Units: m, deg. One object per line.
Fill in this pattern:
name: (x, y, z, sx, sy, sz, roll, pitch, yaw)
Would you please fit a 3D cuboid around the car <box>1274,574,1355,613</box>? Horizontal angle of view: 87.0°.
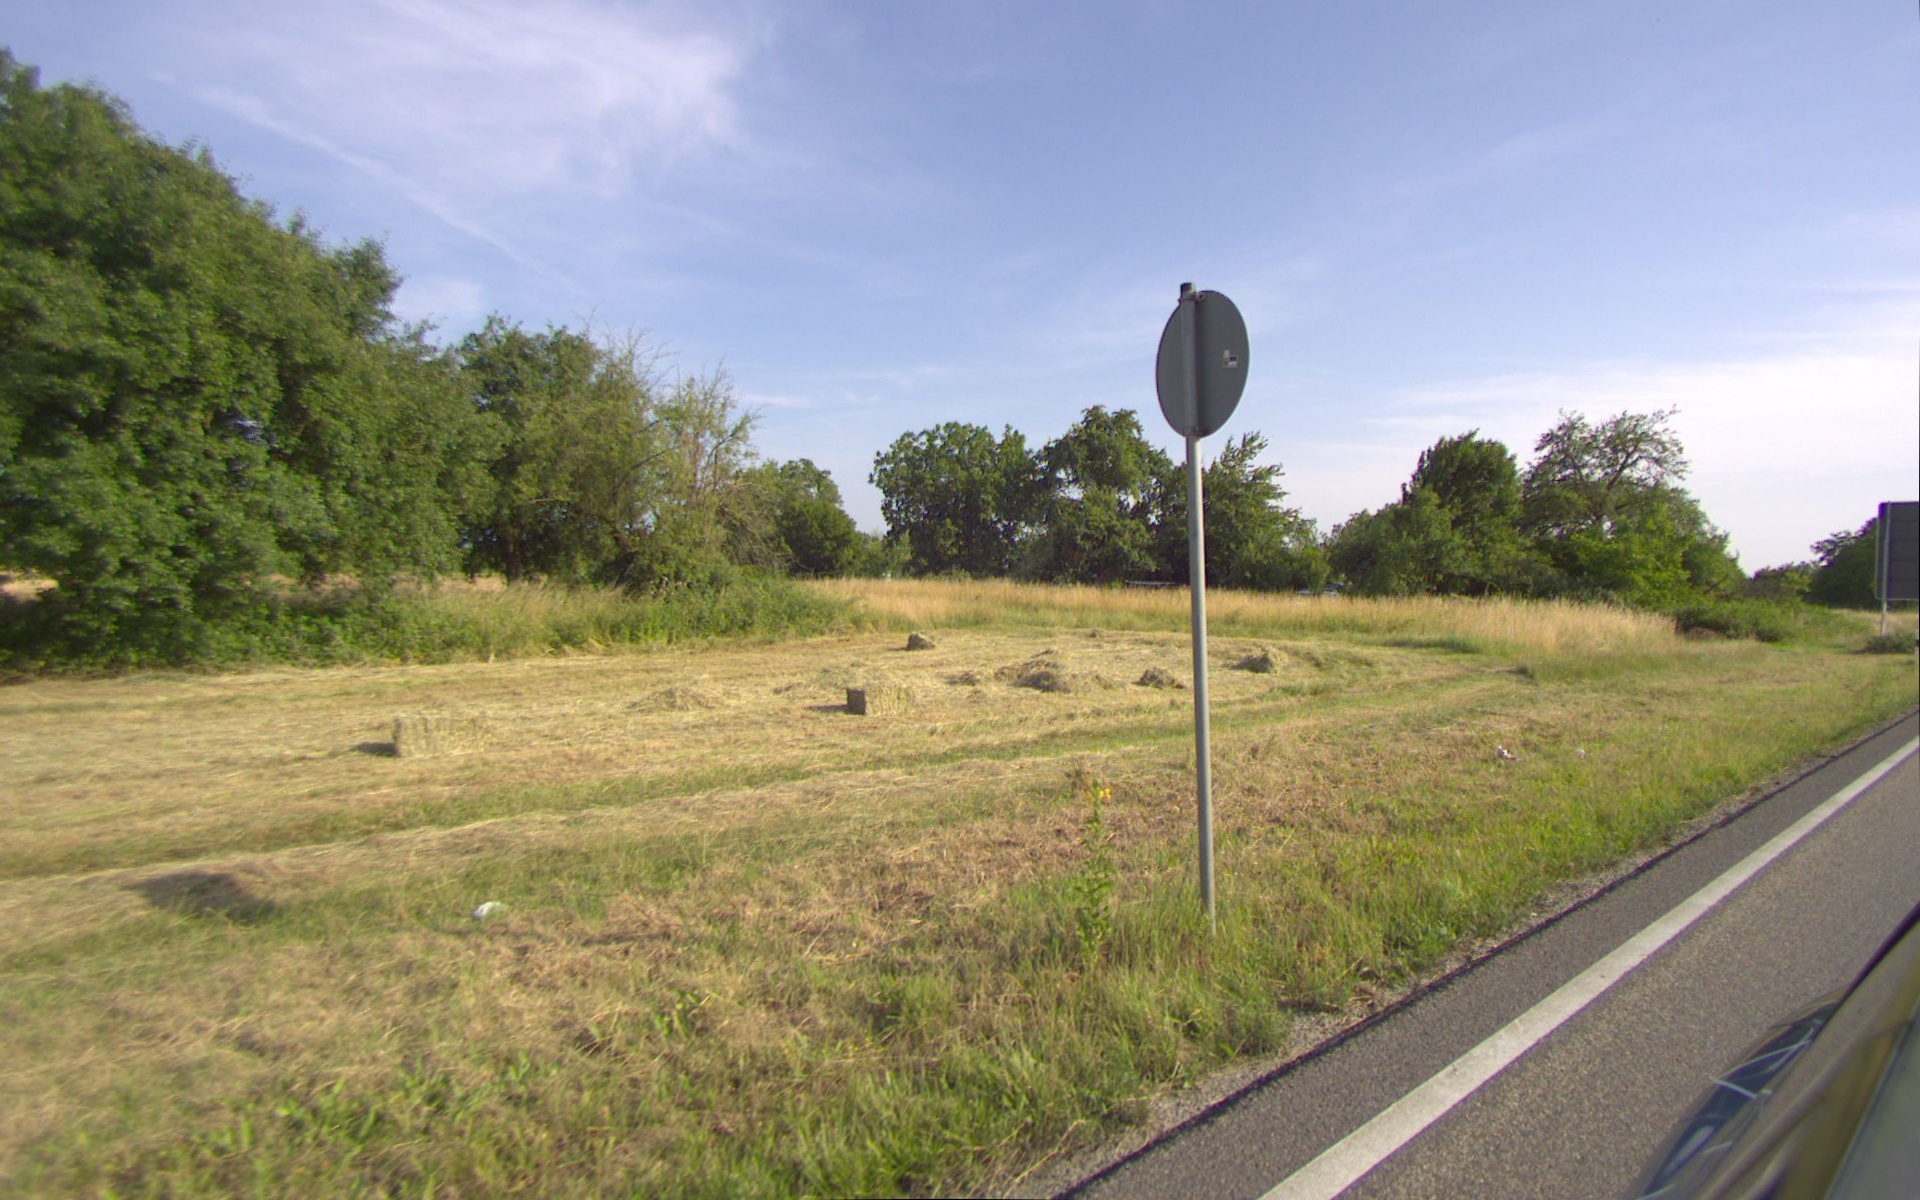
car: (16.868, -0.321, 48.064, 3.931, 1.772, 1.997, 0, 0, -41)
